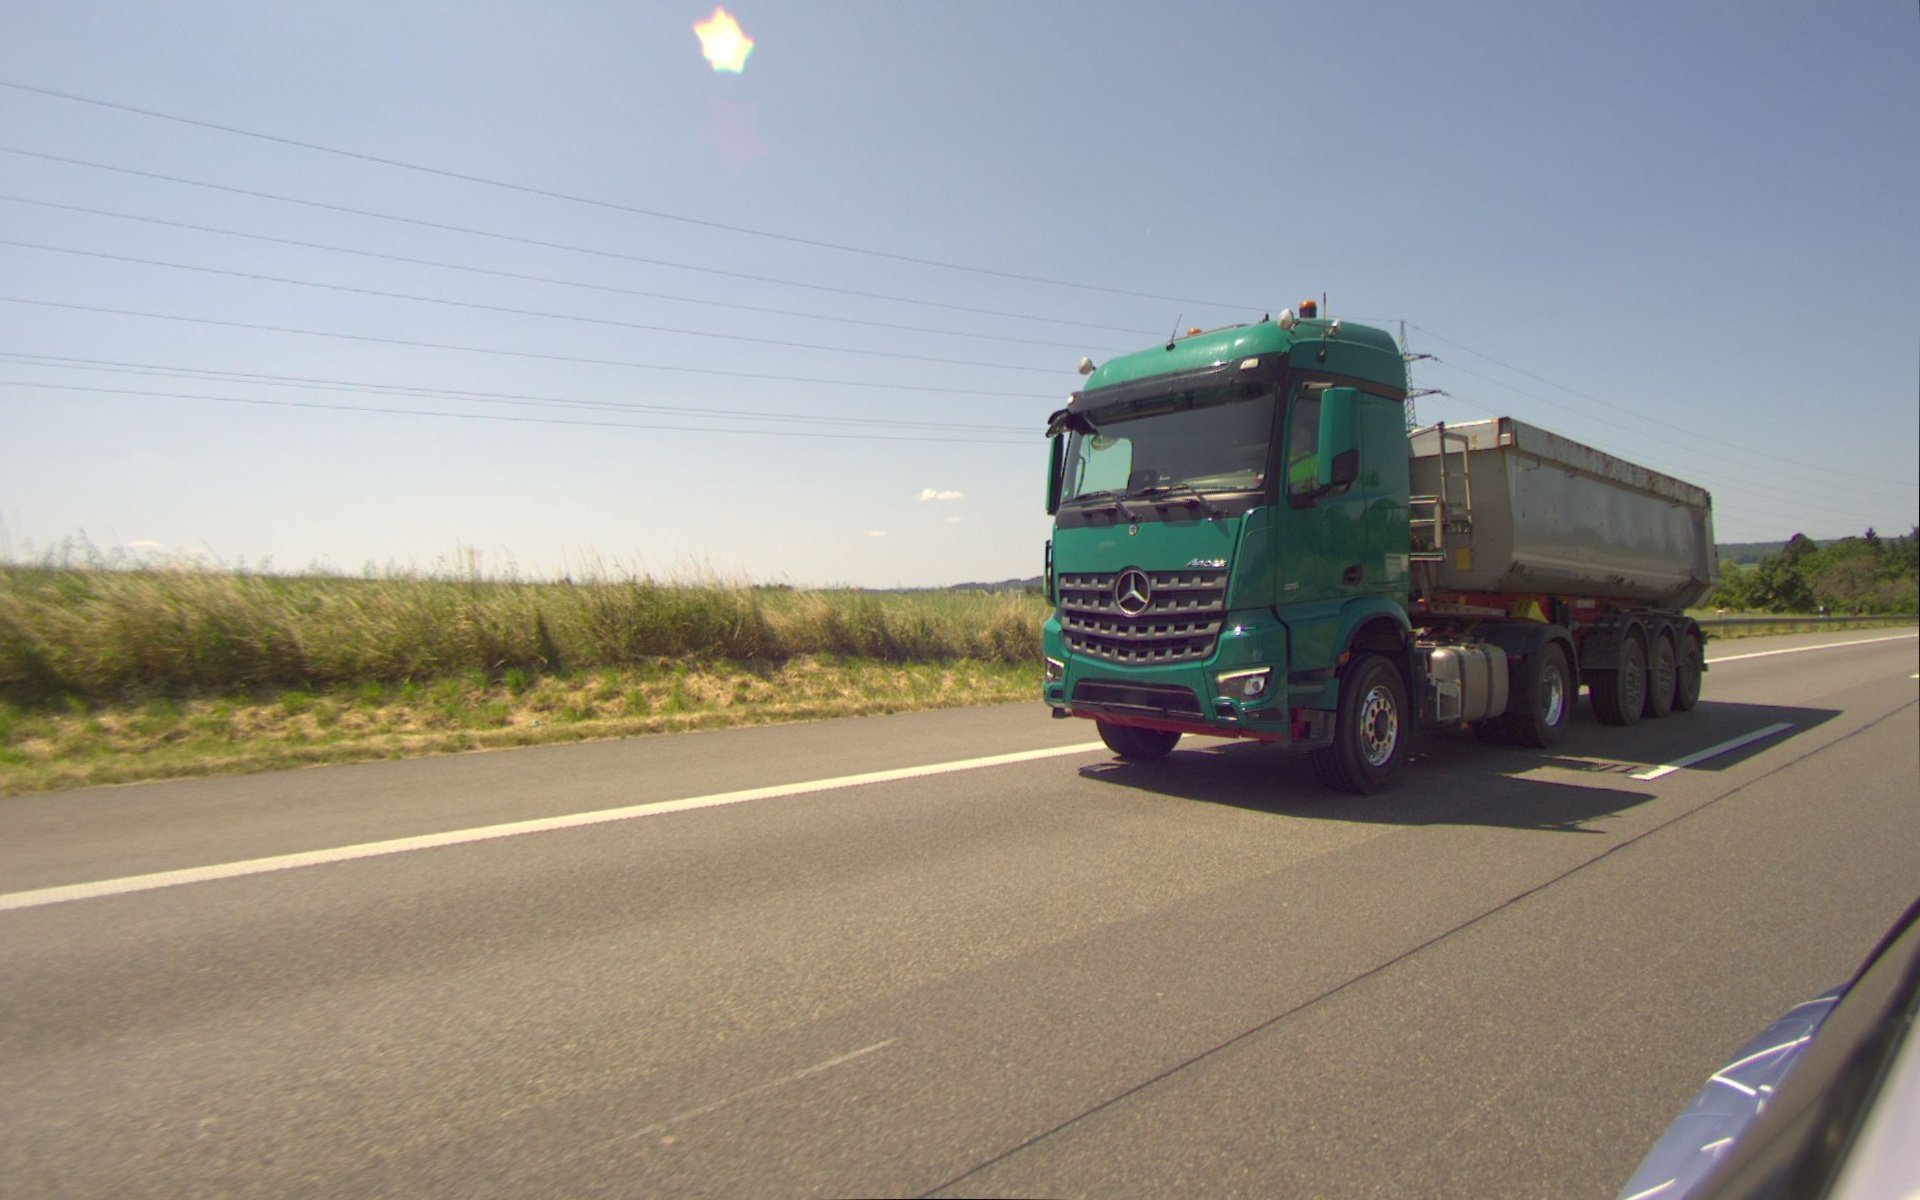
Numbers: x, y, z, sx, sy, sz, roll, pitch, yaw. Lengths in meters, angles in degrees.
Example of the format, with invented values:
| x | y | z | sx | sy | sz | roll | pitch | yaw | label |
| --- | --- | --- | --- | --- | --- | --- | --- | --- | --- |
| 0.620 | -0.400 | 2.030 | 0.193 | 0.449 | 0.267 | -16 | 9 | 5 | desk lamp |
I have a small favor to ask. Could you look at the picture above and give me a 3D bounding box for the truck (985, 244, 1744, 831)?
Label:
| x | y | z | sx | sy | sz | roll | pitch | yaw | label |
| --- | --- | --- | --- | --- | --- | --- | --- | --- | --- |
| 5.848 | -0.433 | 11.755 | 12.541 | 3.770 | 2.870 | 0 | 0 | -41 | truck |
